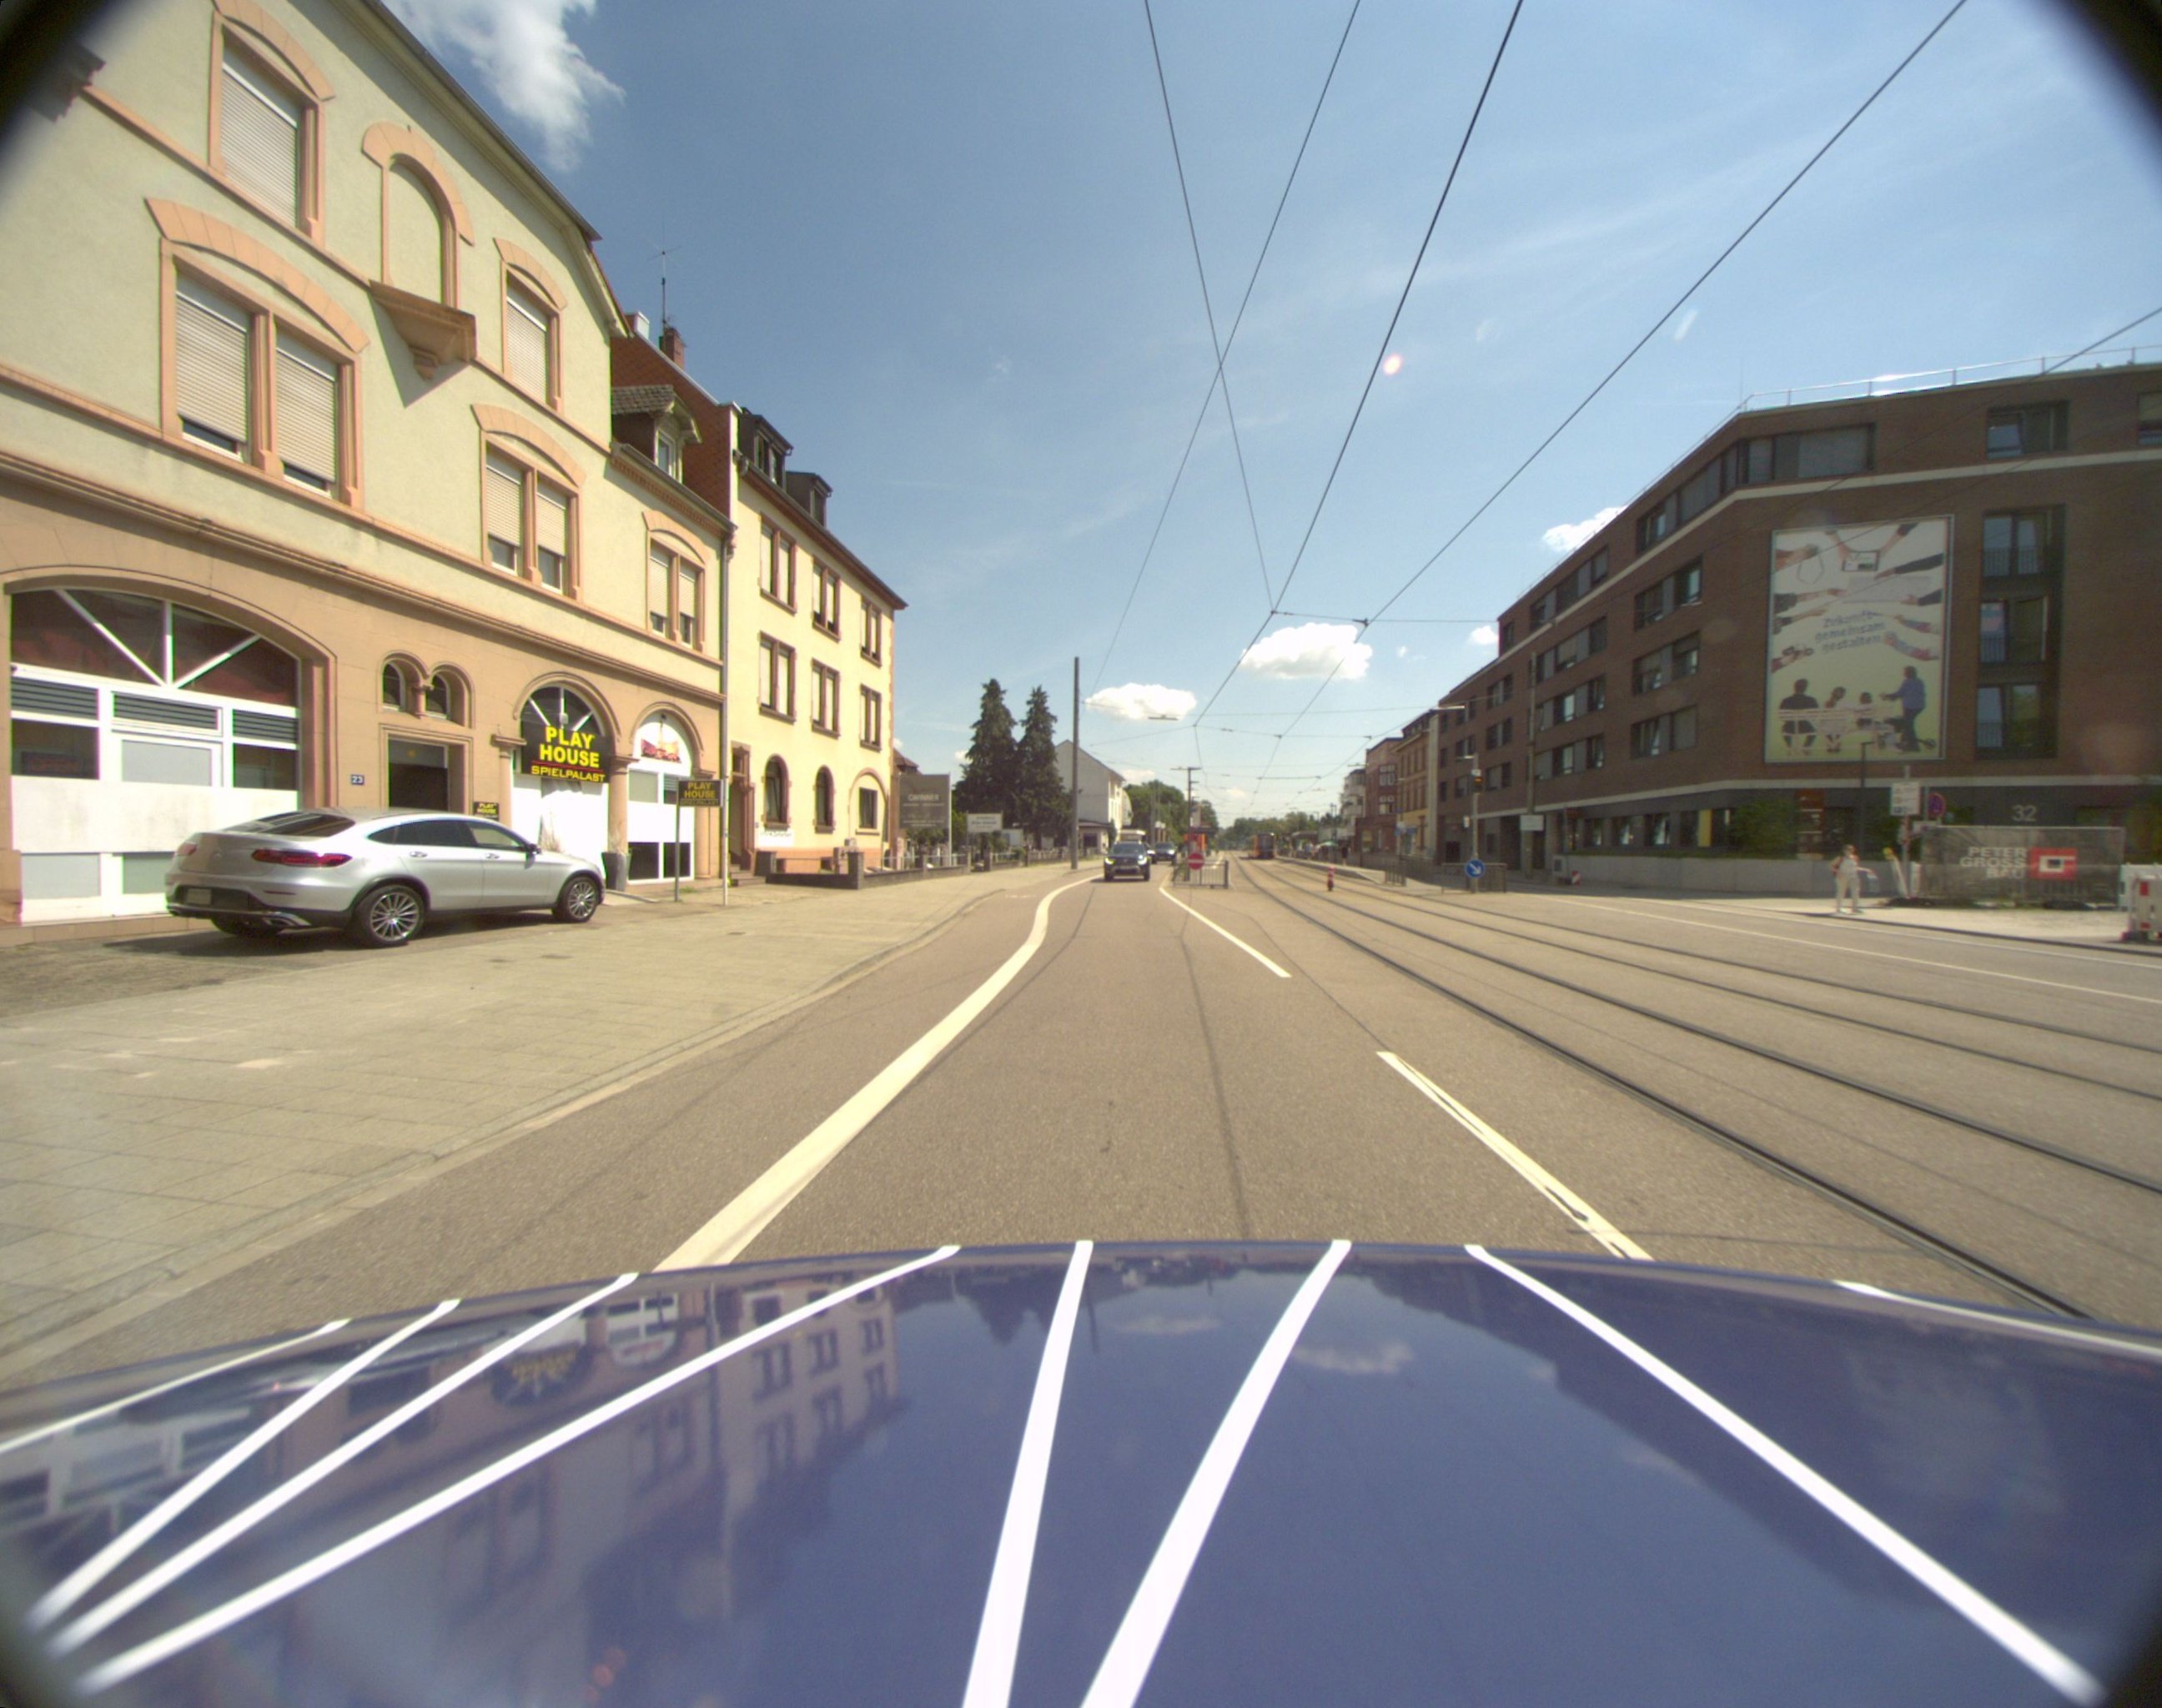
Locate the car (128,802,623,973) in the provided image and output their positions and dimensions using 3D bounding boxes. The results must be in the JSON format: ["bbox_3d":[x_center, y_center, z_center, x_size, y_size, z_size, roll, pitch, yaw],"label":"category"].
[{"bbox_3d":[-8.564,0.291,9.987,1.881,1.615,4.640,3,1,6],"label":"car"}]

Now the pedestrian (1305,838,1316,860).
[{"bbox_3d":[19.533,-0.437,64.605,0.761,1.789,0.952,1,2,10],"label":"pedestrian"}]

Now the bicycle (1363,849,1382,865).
[{"bbox_3d":[23.019,0.233,59.979,0.818,1.215,2.390,1,1,7],"label":"bicycle"}]

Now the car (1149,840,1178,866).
[{"bbox_3d":[6.599,-0.128,60.458,1.997,2.002,4.002,1,1,10],"label":"car"}]

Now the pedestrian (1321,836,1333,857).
[{"bbox_3d":[18.833,-0.557,58.213,0.686,1.587,0.762,1,2,10],"label":"pedestrian"}]

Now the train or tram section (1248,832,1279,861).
[{"bbox_3d":[24.368,-1.147,102.275,3.240,3.547,16.360,1,1,11],"label":"train or tram section"}]

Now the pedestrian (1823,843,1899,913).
[{"bbox_3d":[18.520,0.551,18.068,0.761,1.587,1.000,-3,1,6],"label":"pedestrian"}]

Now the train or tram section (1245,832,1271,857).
[{"bbox_3d":[27.854,-1.606,120.402,3.256,3.547,20.514,1,1,11],"label":"train or tram section"}]

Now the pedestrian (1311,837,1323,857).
[{"bbox_3d":[19.914,-0.602,64.130,0.761,1.685,0.809,1,2,10],"label":"pedestrian"}]

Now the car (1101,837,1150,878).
[{"bbox_3d":[1.903,0.080,31.470,1.845,1.565,4.488,0,1,5],"label":"car"}]

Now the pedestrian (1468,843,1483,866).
[{"bbox_3d":[27.741,0.053,53.433,0.686,1.587,0.762,1,2,10],"label":"pedestrian"}]

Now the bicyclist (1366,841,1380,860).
[{"bbox_3d":[23.050,-0.258,59.987,0.760,1.496,1.066,0,1,5],"label":"bicyclist"}]

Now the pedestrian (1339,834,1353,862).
[{"bbox_3d":[16.904,-0.381,48.468,0.686,1.750,1.034,1,2,10],"label":"pedestrian"}]
